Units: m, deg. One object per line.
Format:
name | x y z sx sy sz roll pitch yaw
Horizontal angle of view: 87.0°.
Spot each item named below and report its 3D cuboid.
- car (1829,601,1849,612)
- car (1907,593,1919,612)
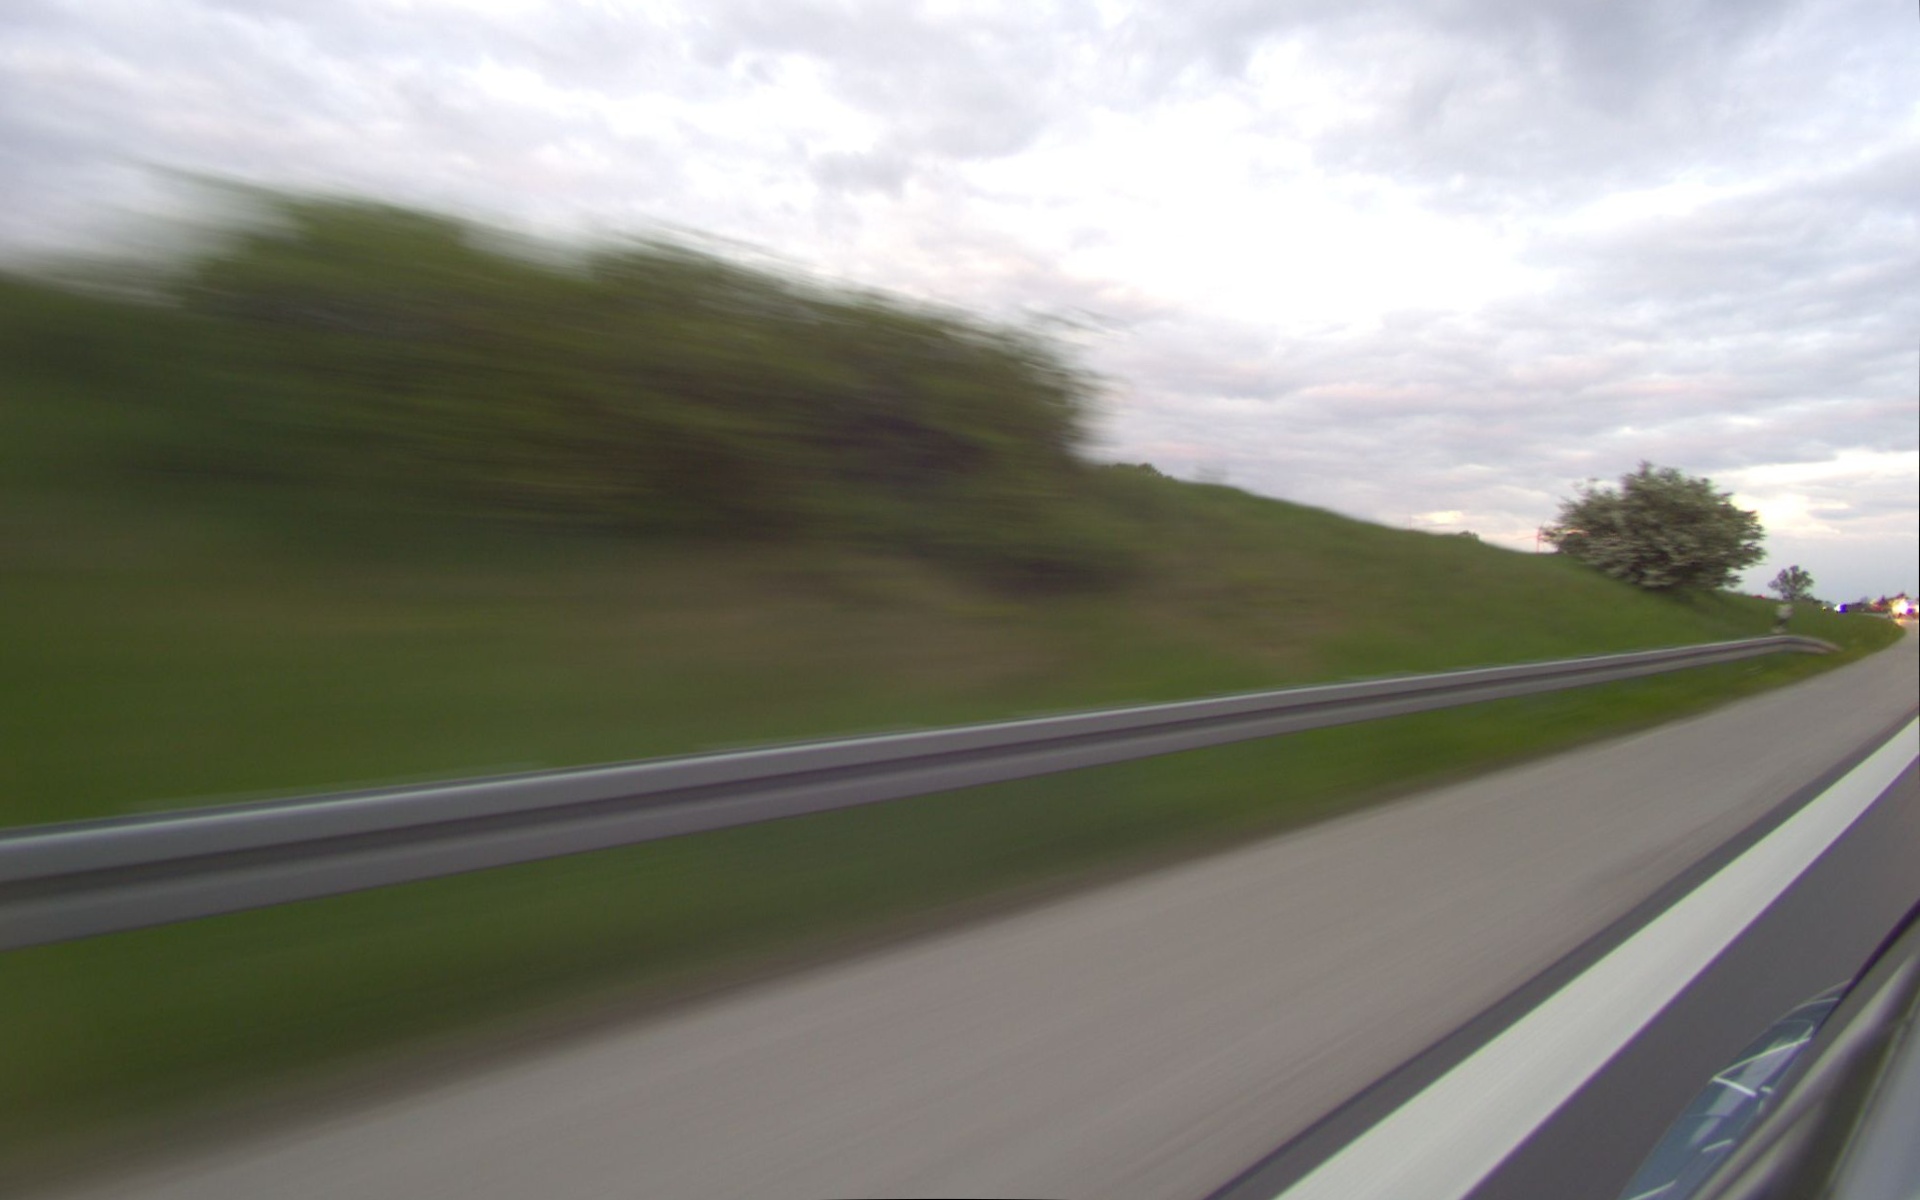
car | 138.220 1.032 159.125 1.791 1.665 4.046 1 1 33
car | 98.625 0.318 103.827 1.914 1.860 3.939 3 2 42
